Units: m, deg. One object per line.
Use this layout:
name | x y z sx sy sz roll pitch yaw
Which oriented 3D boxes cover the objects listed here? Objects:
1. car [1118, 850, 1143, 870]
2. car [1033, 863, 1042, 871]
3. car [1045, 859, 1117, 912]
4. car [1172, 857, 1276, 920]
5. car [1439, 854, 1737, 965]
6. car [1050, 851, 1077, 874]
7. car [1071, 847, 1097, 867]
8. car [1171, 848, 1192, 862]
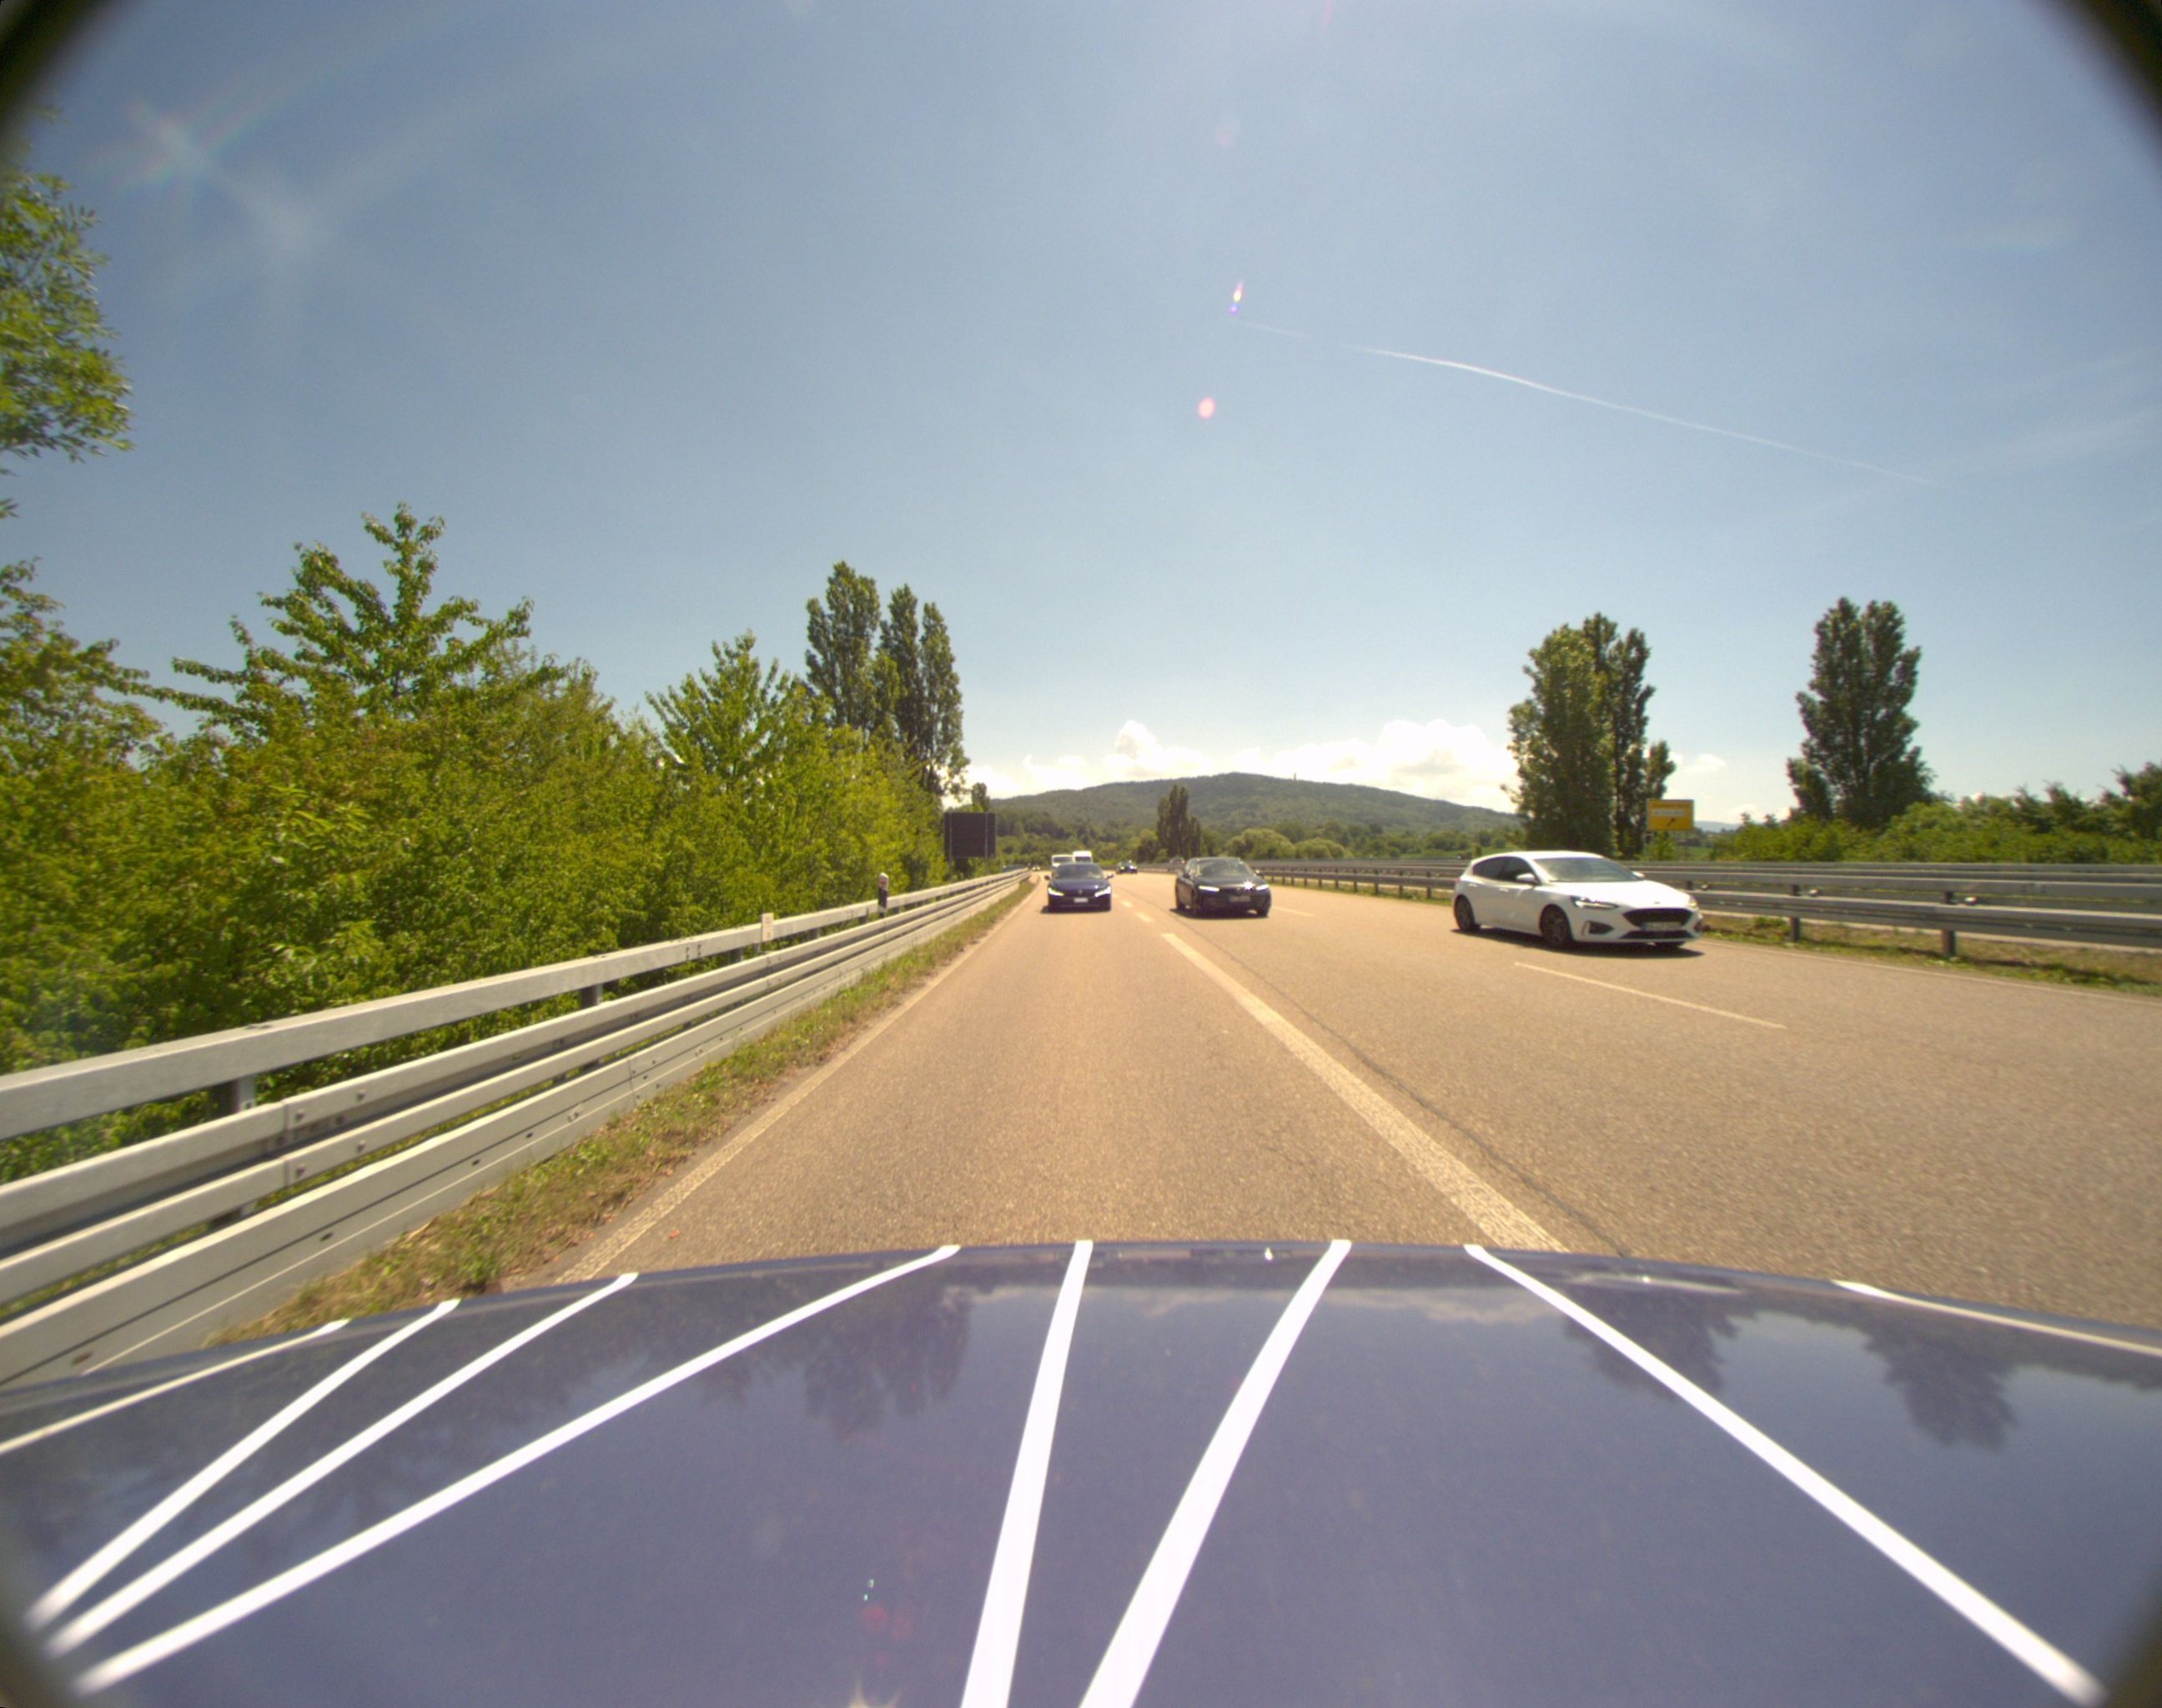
car | 5.129 0.631 78.920 2.009 1.987 4.577 -1 0 -3
car | -10.285 3.108 179.647 1.999 1.619 3.999 -1 1 -1
car | -0.103 0.902 23.484 1.846 1.399 4.468 -2 0 -4
car | 3.617 0.813 20.021 1.846 1.399 4.469 -1 0 0
car | 7.751 0.733 12.267 1.846 1.399 4.469 -1 0 0
car | -1.421 0.649 61.032 1.885 1.724 4.467 -2 0 -4
car | 0.255 0.260 78.643 2.009 1.987 4.575 -2 1 -8
car | 12.197 0.080 92.336 1.830 1.638 4.188 -1 1 -1
